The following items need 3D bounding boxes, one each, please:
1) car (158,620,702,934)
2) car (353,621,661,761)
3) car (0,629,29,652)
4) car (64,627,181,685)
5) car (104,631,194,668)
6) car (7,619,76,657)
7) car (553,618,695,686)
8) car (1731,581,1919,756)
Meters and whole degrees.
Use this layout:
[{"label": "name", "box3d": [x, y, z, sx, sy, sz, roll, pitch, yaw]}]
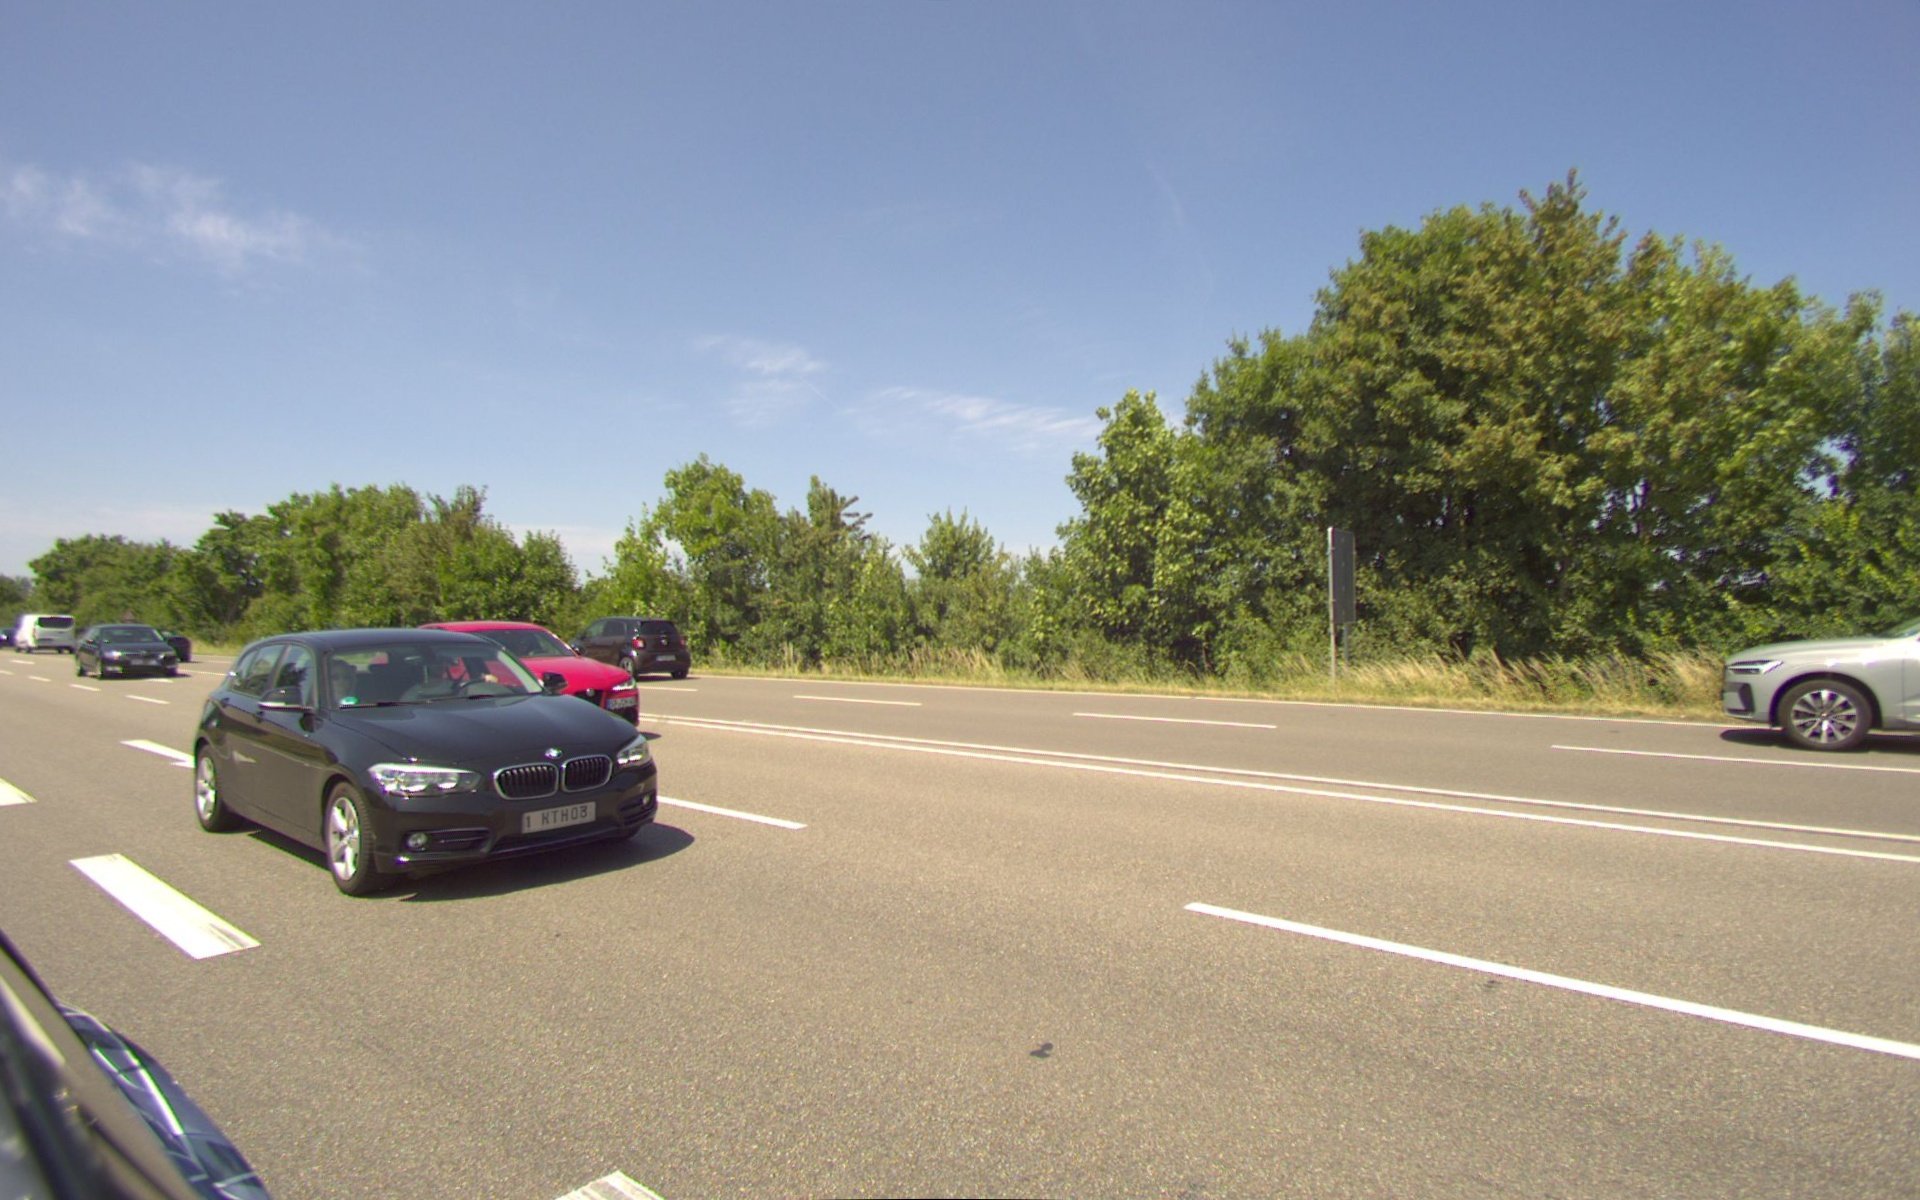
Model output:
[{"label": "car", "box3d": [-3.802, 0.905, 6.878, 4.377, 1.441, 1.766, -2, -1, 40]}, {"label": "car", "box3d": [-5.851, 1.025, 12.786, 4.562, 1.432, 1.731, -2, -1, 40]}, {"label": "car", "box3d": [-58.400, 2.474, 61.739, 4.848, 1.344, 1.536, -1, -2, 38]}, {"label": "car", "box3d": [-22.910, 1.478, 27.618, 4.463, 1.422, 1.658, -1, -1, 39]}, {"label": "car", "box3d": [-31.412, 1.880, 39.147, 4.761, 1.289, 1.787, -1, -1, 40]}, {"label": "car", "box3d": [-47.907, 1.971, 52.763, 5.046, 1.932, 1.886, -2, -3, 39]}, {"label": "car", "box3d": [-8.211, 1.213, 24.650, 3.554, 1.499, 1.629, -1, -1, 39]}, {"label": "car", "box3d": [10.377, 0.630, 9.812, 4.564, 1.652, 2.008, -1, -1, 39]}]
